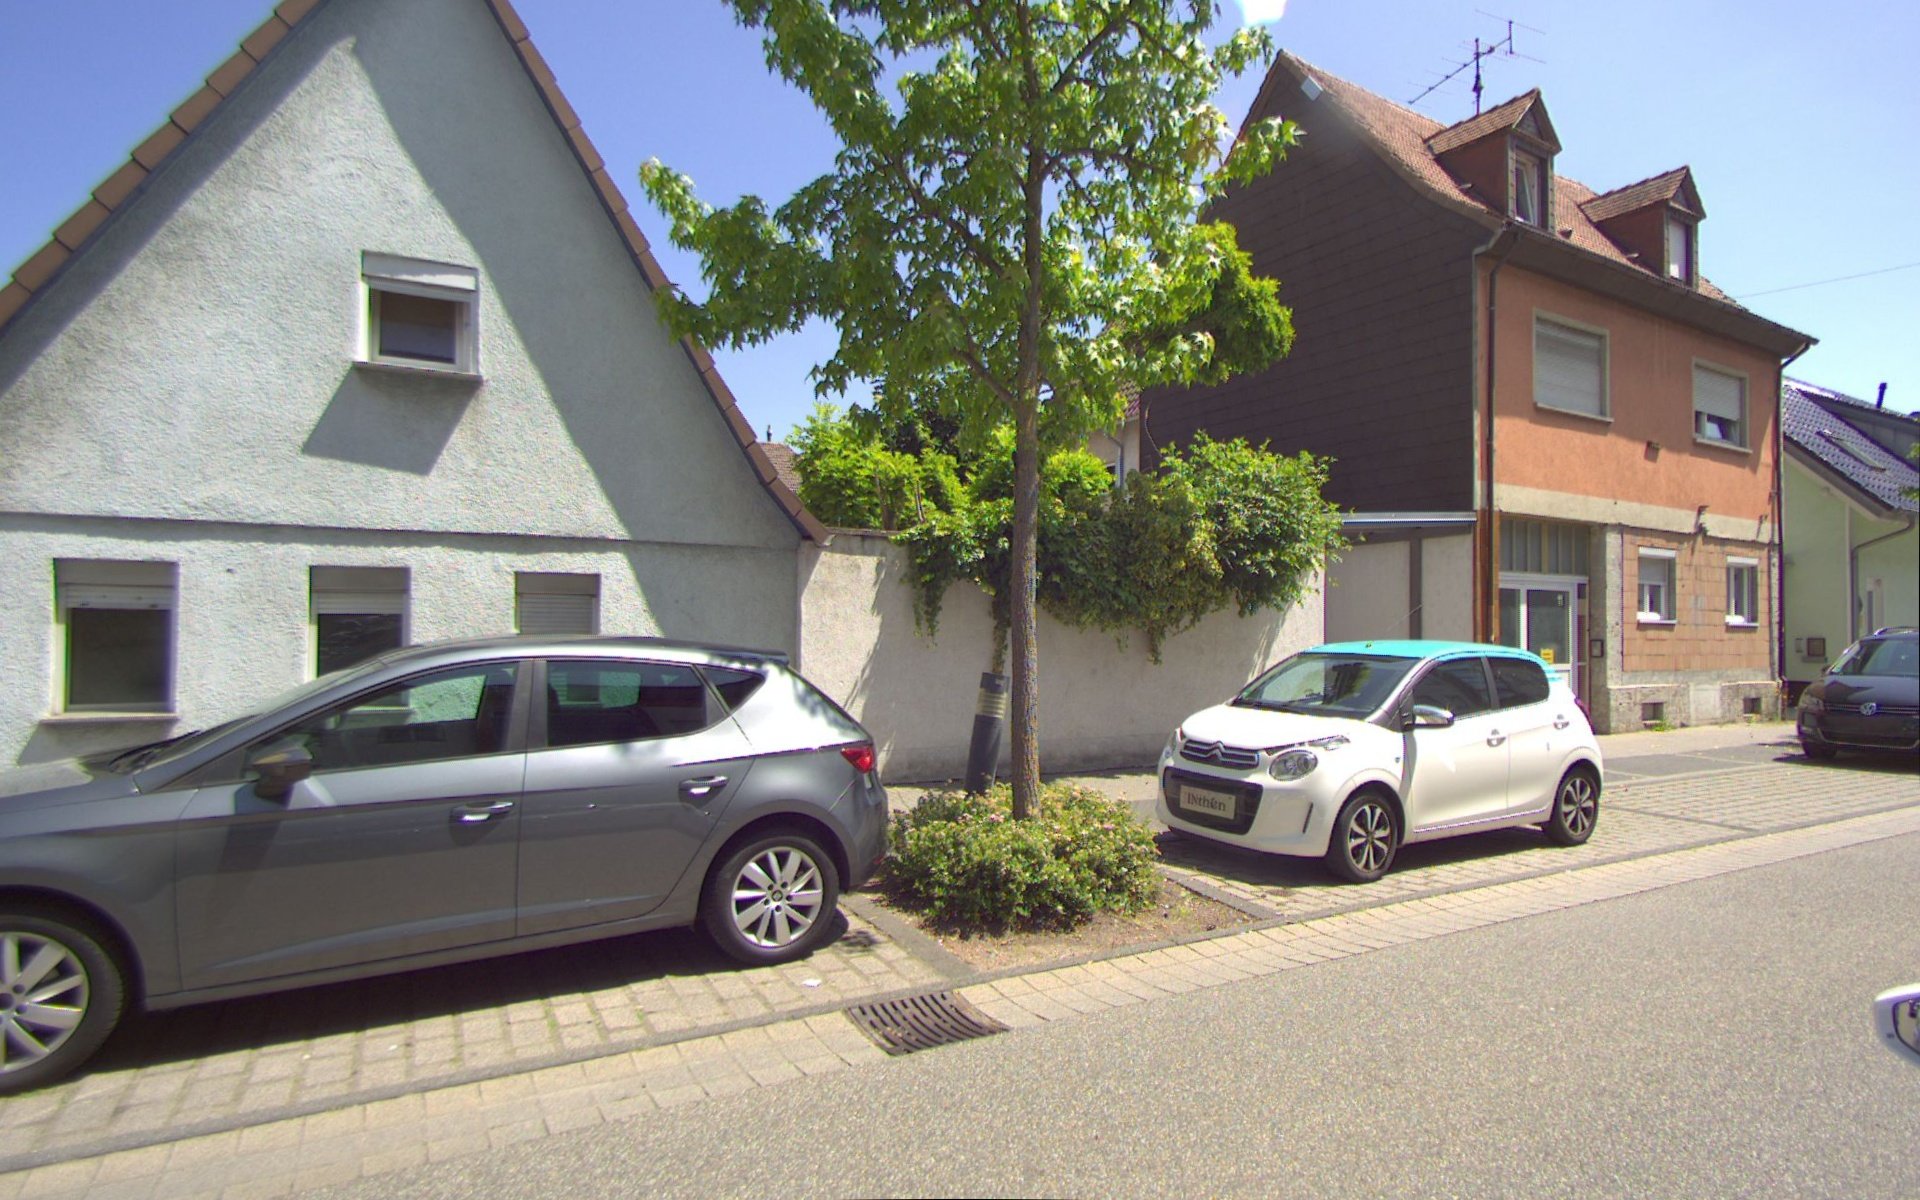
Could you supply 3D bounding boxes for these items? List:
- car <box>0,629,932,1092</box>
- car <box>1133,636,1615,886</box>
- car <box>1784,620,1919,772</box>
[{"bbox_3d":[-2.284,0.878,4.530,4.050,1.449,1.638,1,-3,-30],"label":"car"},{"bbox_3d":[3.076,0.999,7.371,3.369,1.449,1.547,1,-2,-30],"label":"car"},{"bbox_3d":[12.821,1.168,13.167,4.468,1.749,1.766,1,-2,-31],"label":"car"}]
